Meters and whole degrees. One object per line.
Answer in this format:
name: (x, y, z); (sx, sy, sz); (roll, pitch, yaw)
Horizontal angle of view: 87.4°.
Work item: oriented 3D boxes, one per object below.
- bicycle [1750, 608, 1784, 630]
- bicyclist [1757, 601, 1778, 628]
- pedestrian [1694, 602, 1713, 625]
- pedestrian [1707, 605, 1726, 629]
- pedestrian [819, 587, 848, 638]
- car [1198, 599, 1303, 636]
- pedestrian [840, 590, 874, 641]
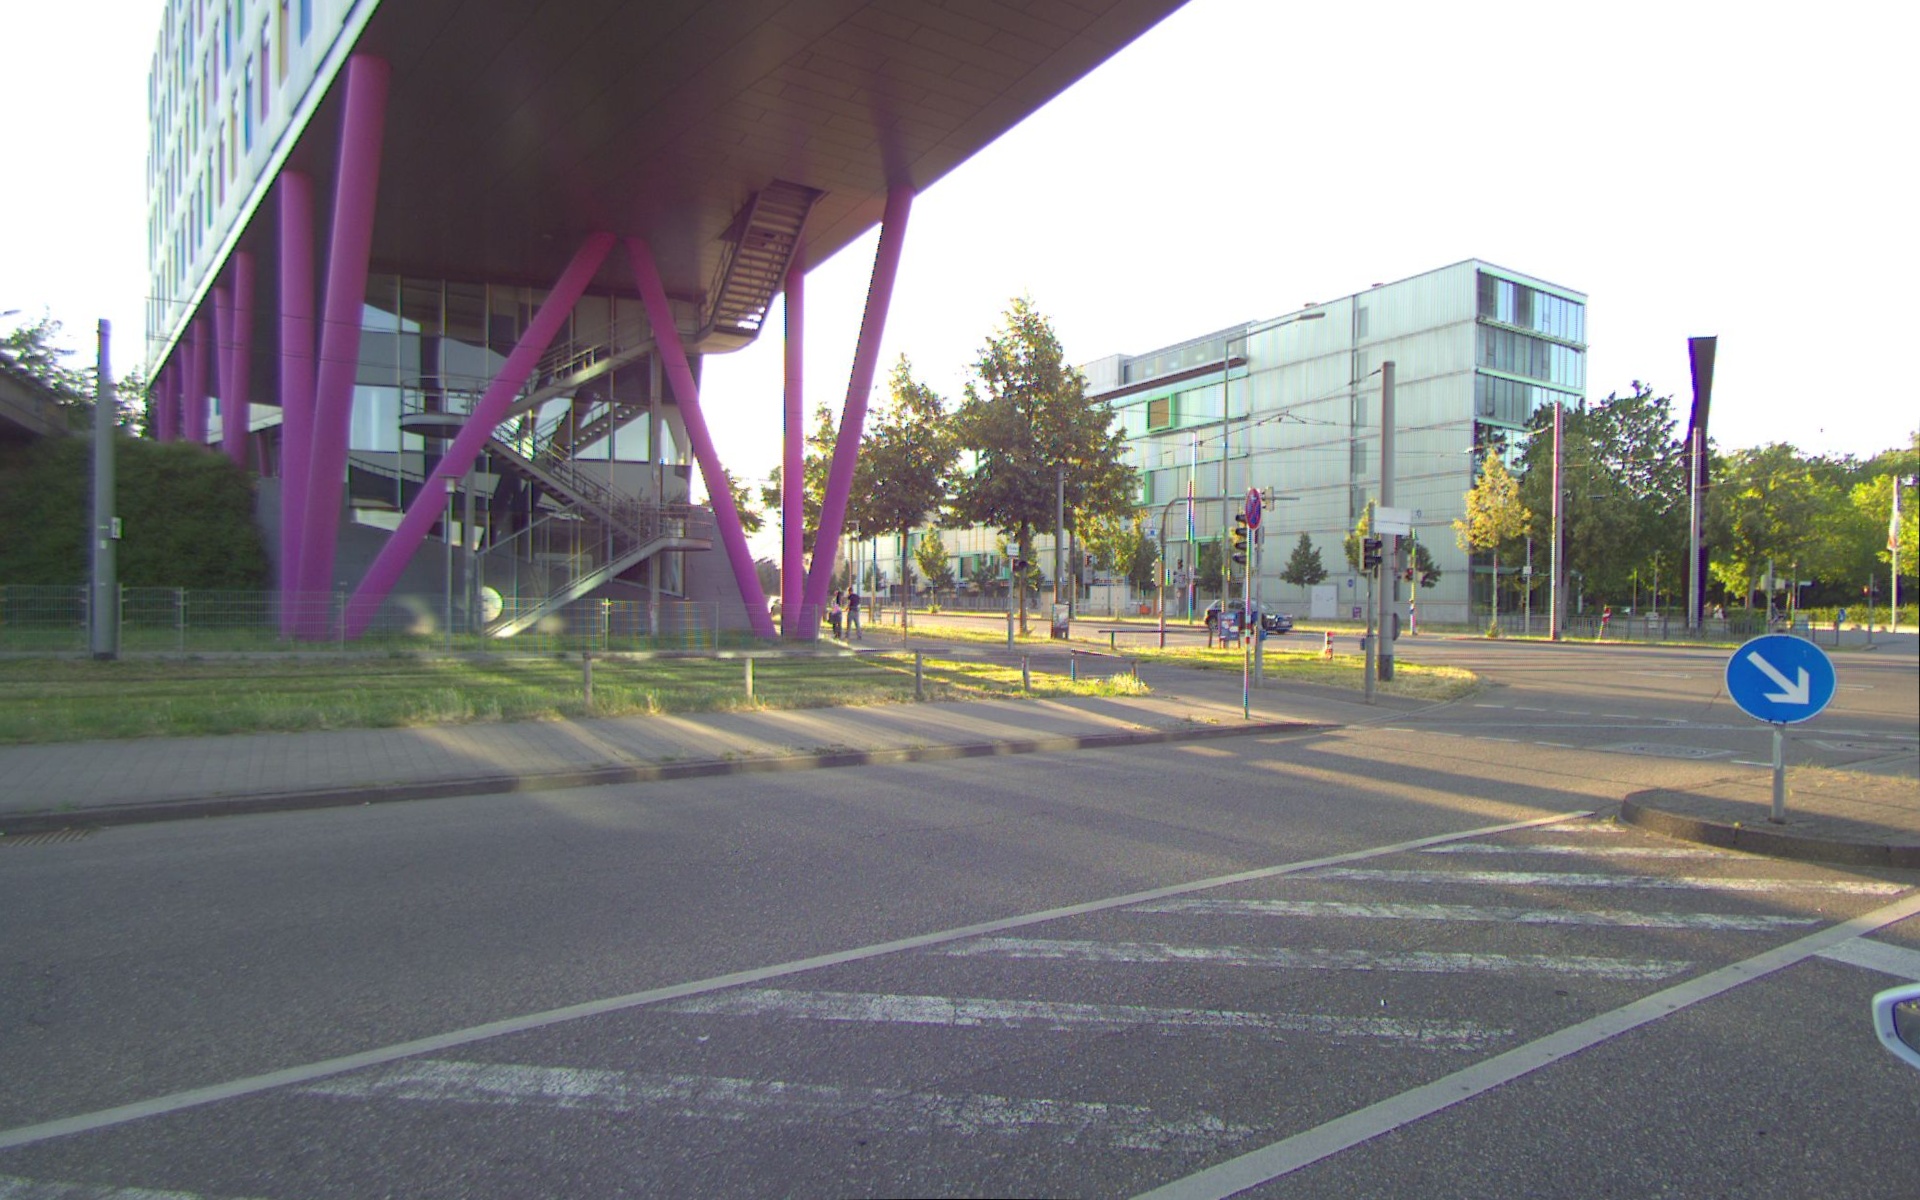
bicycle: (51.649, 1.191, 64.323); (0.717, 1.359, 2.691); (1, 0, 16)
bicyclist: (51.531, 0.930, 64.110); (0.738, 1.732, 0.920); (1, 0, 17)
pedestrian: (57.563, 1.050, 77.810); (0.814, 1.767, 0.862); (1, 0, -2)
pedestrian: (58.467, 1.313, 77.611); (0.813, 1.767, 0.863); (1, 0, 3)
pedestrian: (-4.351, 0.440, 34.633); (0.754, 1.727, 0.881); (1, -2, -27)
car: (13.293, 0.793, 46.196); (1.968, 1.577, 4.448); (1, 0, -34)
pedestrian: (-3.588, 0.549, 34.955); (0.923, 1.747, 0.875); (1, -2, -32)
